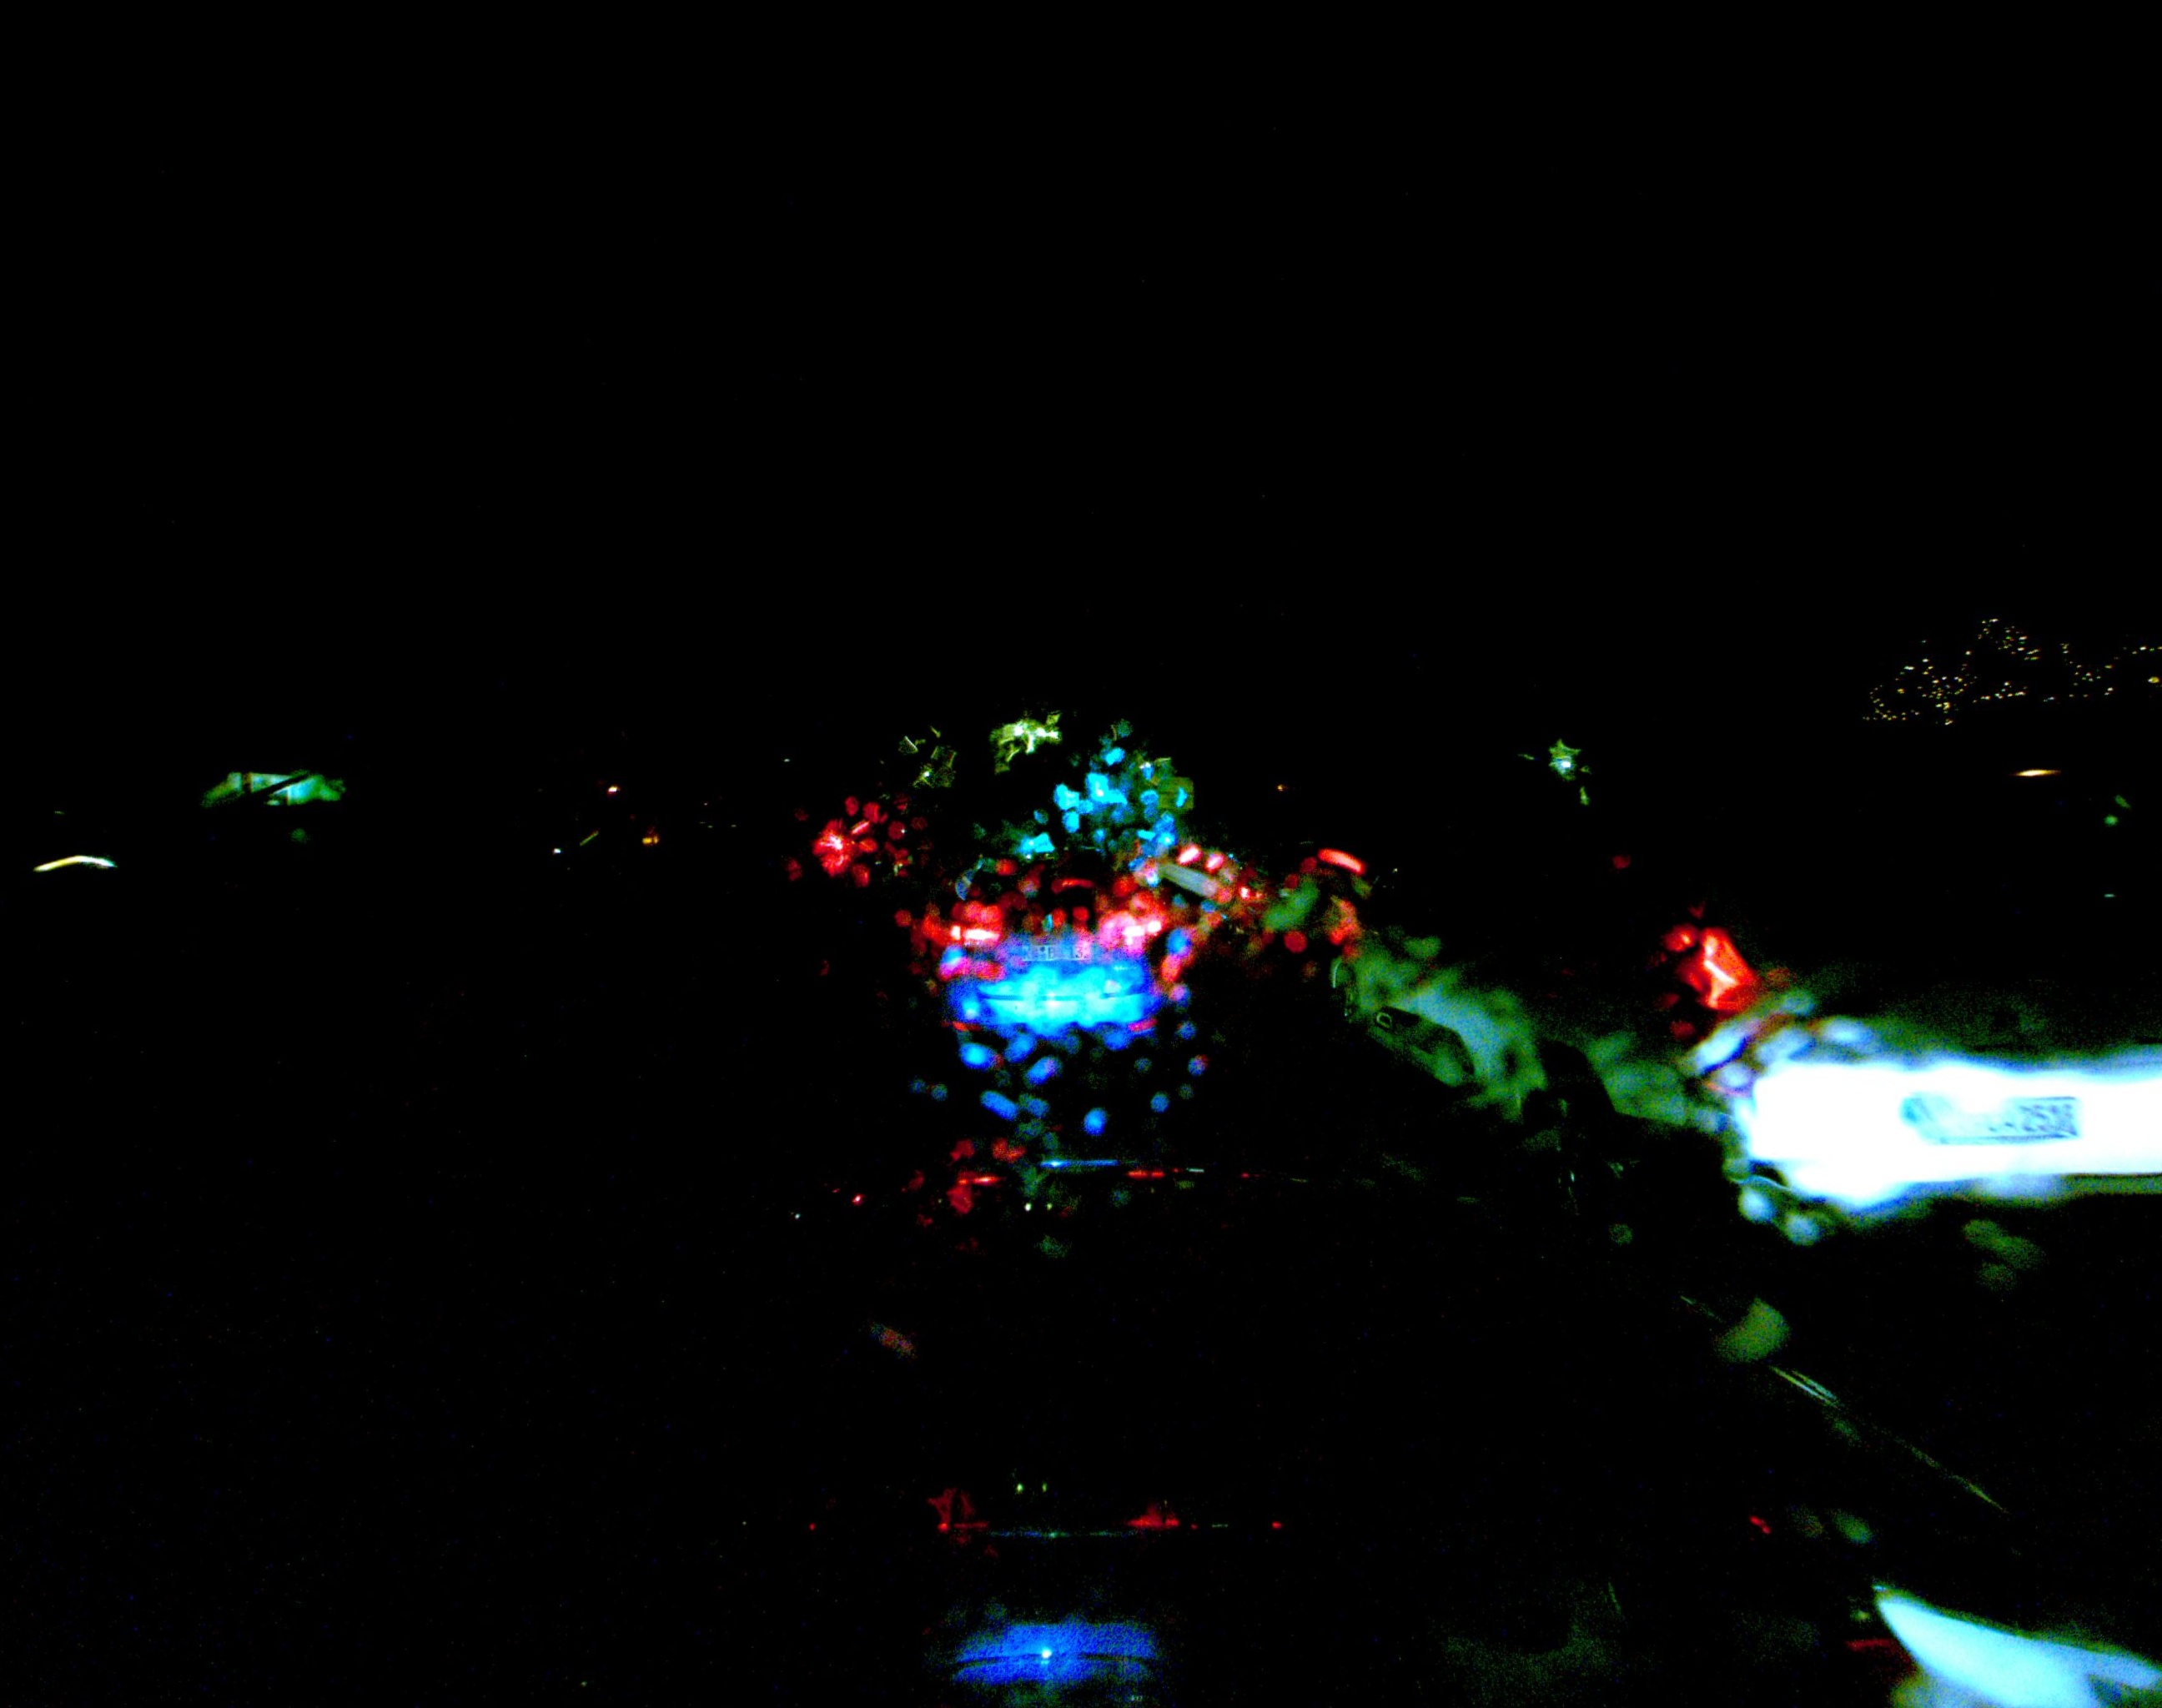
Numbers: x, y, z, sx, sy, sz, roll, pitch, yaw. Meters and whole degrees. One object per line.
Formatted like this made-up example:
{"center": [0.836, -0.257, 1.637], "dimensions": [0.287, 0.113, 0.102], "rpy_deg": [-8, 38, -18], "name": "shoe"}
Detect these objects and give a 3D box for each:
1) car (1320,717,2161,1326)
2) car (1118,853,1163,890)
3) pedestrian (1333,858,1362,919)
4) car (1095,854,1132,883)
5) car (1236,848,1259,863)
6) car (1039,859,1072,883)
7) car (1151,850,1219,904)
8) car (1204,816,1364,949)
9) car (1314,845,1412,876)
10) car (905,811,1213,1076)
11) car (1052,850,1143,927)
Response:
{"center": [2.878, 0.532, 4.677], "dimensions": [1.845, 1.865, 4.342], "rpy_deg": [0, -1, 2], "name": "car"}
{"center": [2.814, 0.825, 39.341], "dimensions": [1.986, 1.670, 4.001], "rpy_deg": [0, -1, 2], "name": "car"}
{"center": [7.532, 0.970, 23.018], "dimensions": [0.621, 1.701, 0.541], "rpy_deg": [0, -1, -1], "name": "pedestrian"}
{"center": [2.033, 0.897, 52.500], "dimensions": [1.989, 1.773, 3.995], "rpy_deg": [0, -1, -3], "name": "car"}
{"center": [19.100, 0.185, 93.481], "dimensions": [1.857, 1.646, 3.965], "rpy_deg": [-3, -1, 2], "name": "car"}
{"center": [-2.044, 1.302, 63.796], "dimensions": [1.995, 1.824, 3.984], "rpy_deg": [0, -1, -11], "name": "car"}
{"center": [3.538, 0.766, 28.403], "dimensions": [1.986, 1.718, 4.001], "rpy_deg": [0, -1, 2], "name": "car"}
{"center": [3.436, 0.465, 14.586], "dimensions": [1.961, 2.047, 4.001], "rpy_deg": [0, -1, 2], "name": "car"}
{"center": [13.939, 0.328, 40.271], "dimensions": [4.286, 1.460, 1.863], "rpy_deg": [-1, -1, 30], "name": "car"}
{"center": [-0.076, 0.606, 7.548], "dimensions": [2.007, 1.717, 4.453], "rpy_deg": [0, -1, 2], "name": "car"}
{"center": [0.425, 0.777, 20.011], "dimensions": [1.986, 1.684, 4.001], "rpy_deg": [0, -1, 2], "name": "car"}
